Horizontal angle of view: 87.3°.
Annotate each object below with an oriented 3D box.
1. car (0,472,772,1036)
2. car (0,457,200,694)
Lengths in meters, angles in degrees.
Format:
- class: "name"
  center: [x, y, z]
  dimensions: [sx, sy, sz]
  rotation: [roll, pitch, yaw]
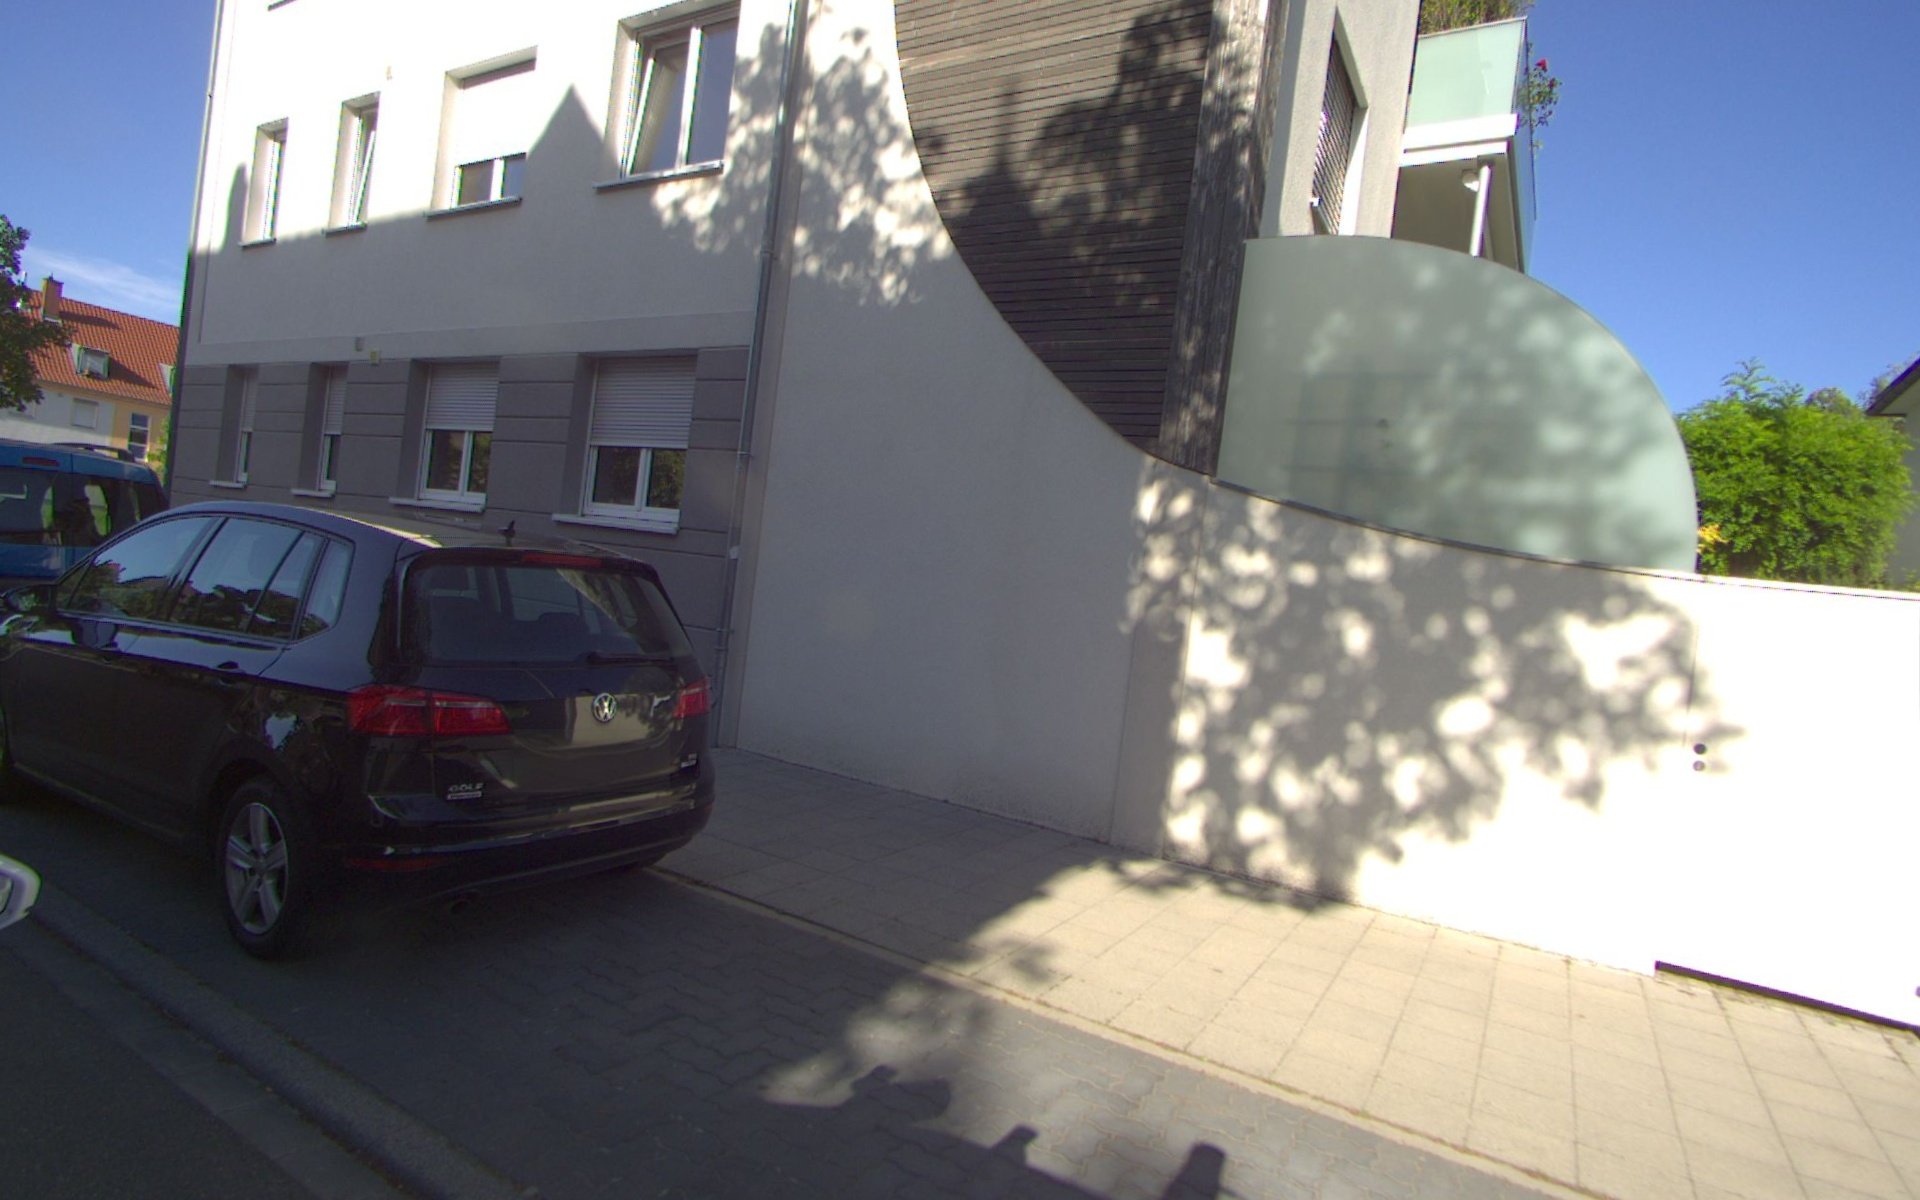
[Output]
- class: "car"
  center: [-3.078, 0.328, 4.743]
  dimensions: [4.108, 1.552, 1.737]
  rotation: [7, 3, 31]
- class: "car"
  center: [-7.552, -0.312, 7.427]
  dimensions: [4.195, 1.455, 1.681]
  rotation: [6, 3, 31]
